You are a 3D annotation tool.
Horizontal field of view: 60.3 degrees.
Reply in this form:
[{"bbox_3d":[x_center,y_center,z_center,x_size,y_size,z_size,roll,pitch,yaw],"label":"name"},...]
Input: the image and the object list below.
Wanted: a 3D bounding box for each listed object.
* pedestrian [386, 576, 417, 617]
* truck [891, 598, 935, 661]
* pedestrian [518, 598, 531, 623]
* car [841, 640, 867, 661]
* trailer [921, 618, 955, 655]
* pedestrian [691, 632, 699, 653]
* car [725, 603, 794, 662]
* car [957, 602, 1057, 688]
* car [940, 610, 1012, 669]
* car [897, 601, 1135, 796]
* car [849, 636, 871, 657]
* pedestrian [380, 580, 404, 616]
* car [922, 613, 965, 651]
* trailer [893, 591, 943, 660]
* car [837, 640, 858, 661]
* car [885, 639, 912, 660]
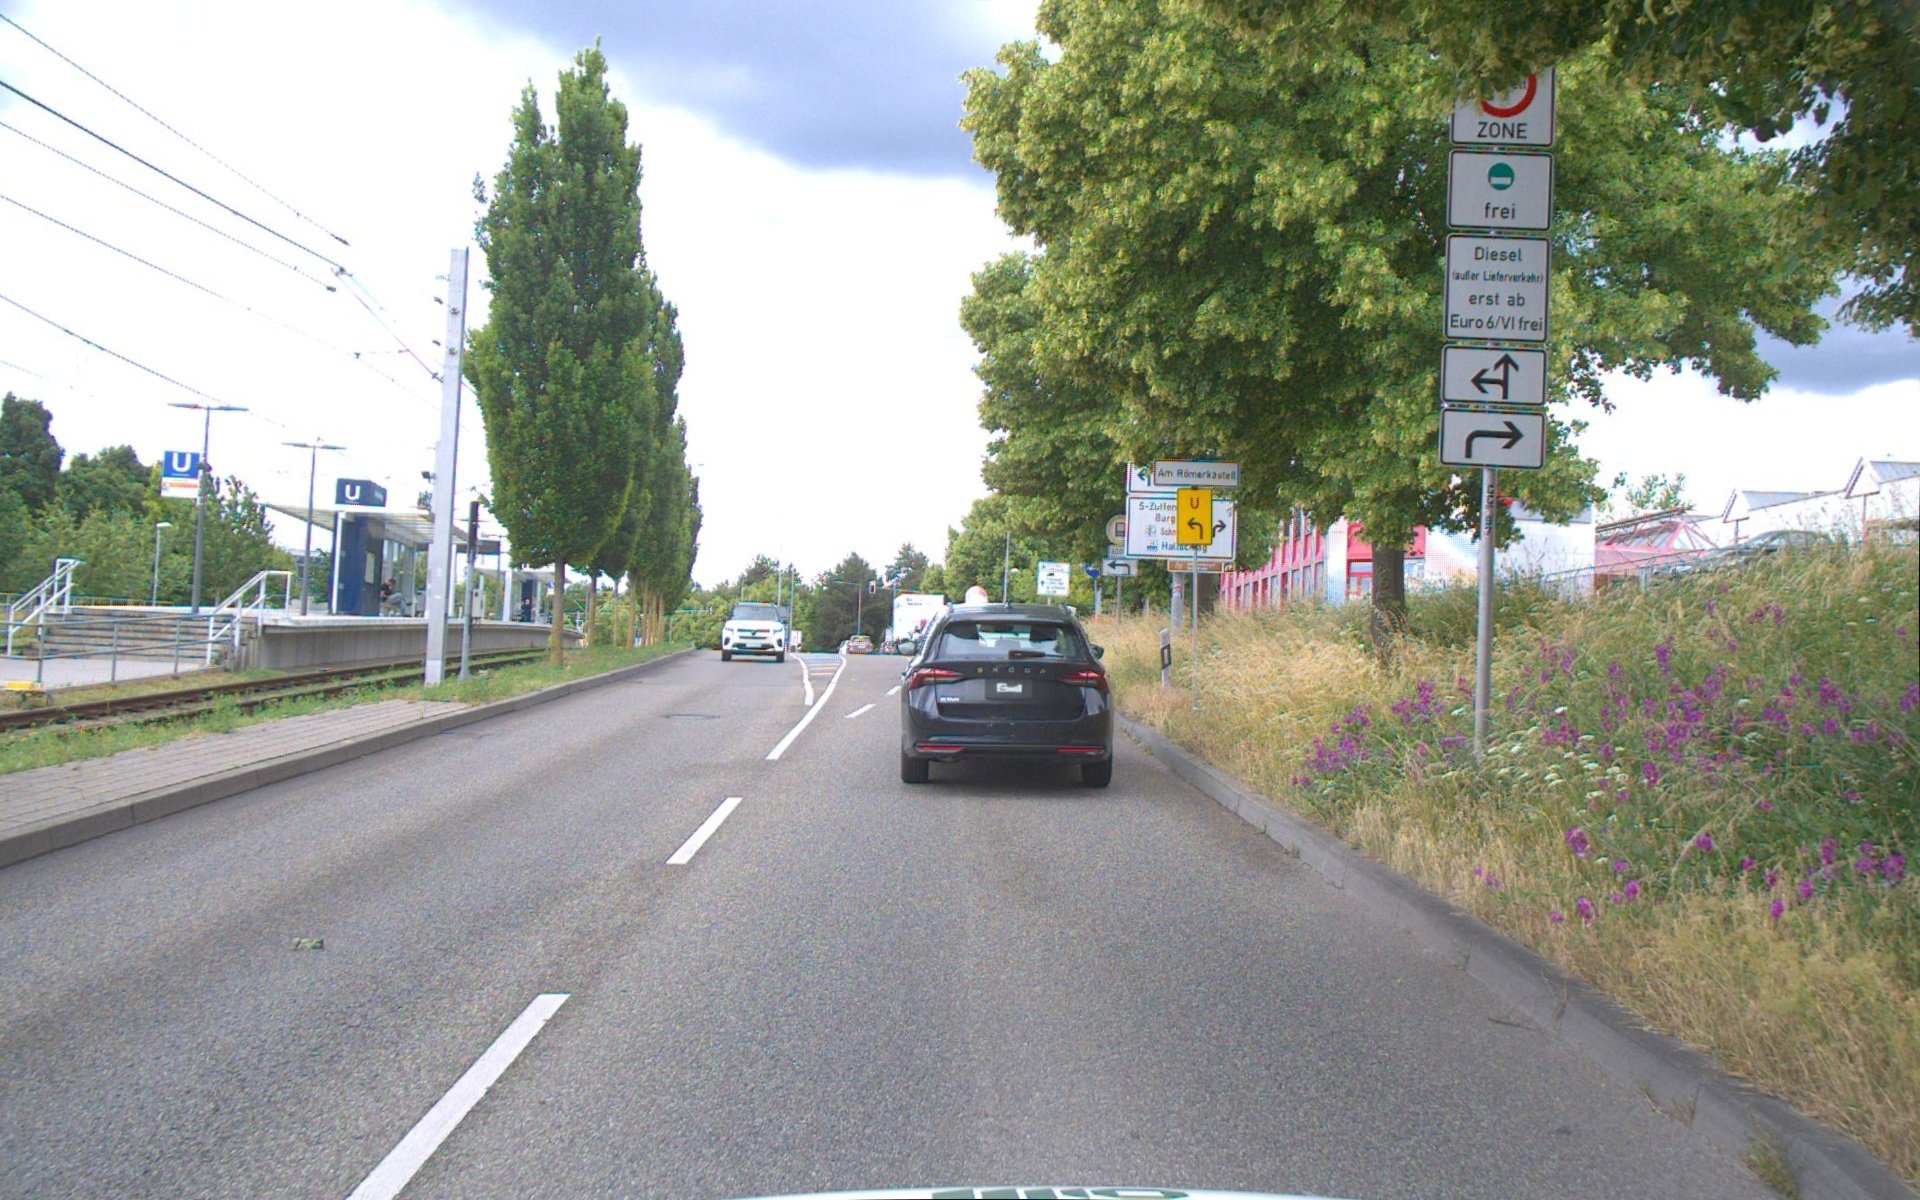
[{"bbox_3d":[-17.225,-0.099,51.026,0.747,1.220,0.664,1,-1,-8],"label":"pedestrian"},{"bbox_3d":[-3.065,1.958,107.003,2.521,3.771,4.100,1,-4,-6],"label":"truck"},{"bbox_3d":[-22.903,0.533,86.921,0.599,1.291,0.658,1,-1,-12],"label":"pedestrian"},{"bbox_3d":[-8.010,3.791,124.703,1.688,1.447,4.349,1,-3,-7],"label":"car"},{"bbox_3d":[-1.040,1.682,75.646,1.381,1.622,3.301,1,-2,-3],"label":"trailer"},{"bbox_3d":[-21.476,3.424,133.907,0.575,1.650,0.422,1,-1,-9],"label":"pedestrian"},{"bbox_3d":[-5.523,0.904,45.935,1.682,1.548,3.741,1,-1,-4],"label":"car"},{"bbox_3d":[0.838,0.814,31.216,1.591,1.483,3.686,1,-1,-3],"label":"car"},{"bbox_3d":[0.390,1.062,44.794,1.684,1.483,3.694,1,-1,-3],"label":"car"},{"bbox_3d":[0.473,0.749,14.658,1.798,1.457,4.279,0,0,1],"label":"car"},{"bbox_3d":[-6.979,3.241,115.612,1.495,1.378,3.488,1,0,-4],"label":"car"},{"bbox_3d":[-17.845,-0.067,51.968,0.595,1.098,0.469,1,-1,-8],"label":"pedestrian"},{"bbox_3d":[-0.728,1.310,69.429,1.664,1.512,3.998,0,0,-2],"label":"car"},{"bbox_3d":[-2.689,1.674,103.284,2.516,3.771,7.752,1,-5,-6],"label":"trailer"},{"bbox_3d":[-8.818,3.987,129.877,1.506,1.531,2.665,1,-3,-7],"label":"car"},{"bbox_3d":[-4.396,3.512,118.321,1.776,1.378,4.114,2,-1,-4],"label":"car"}]
